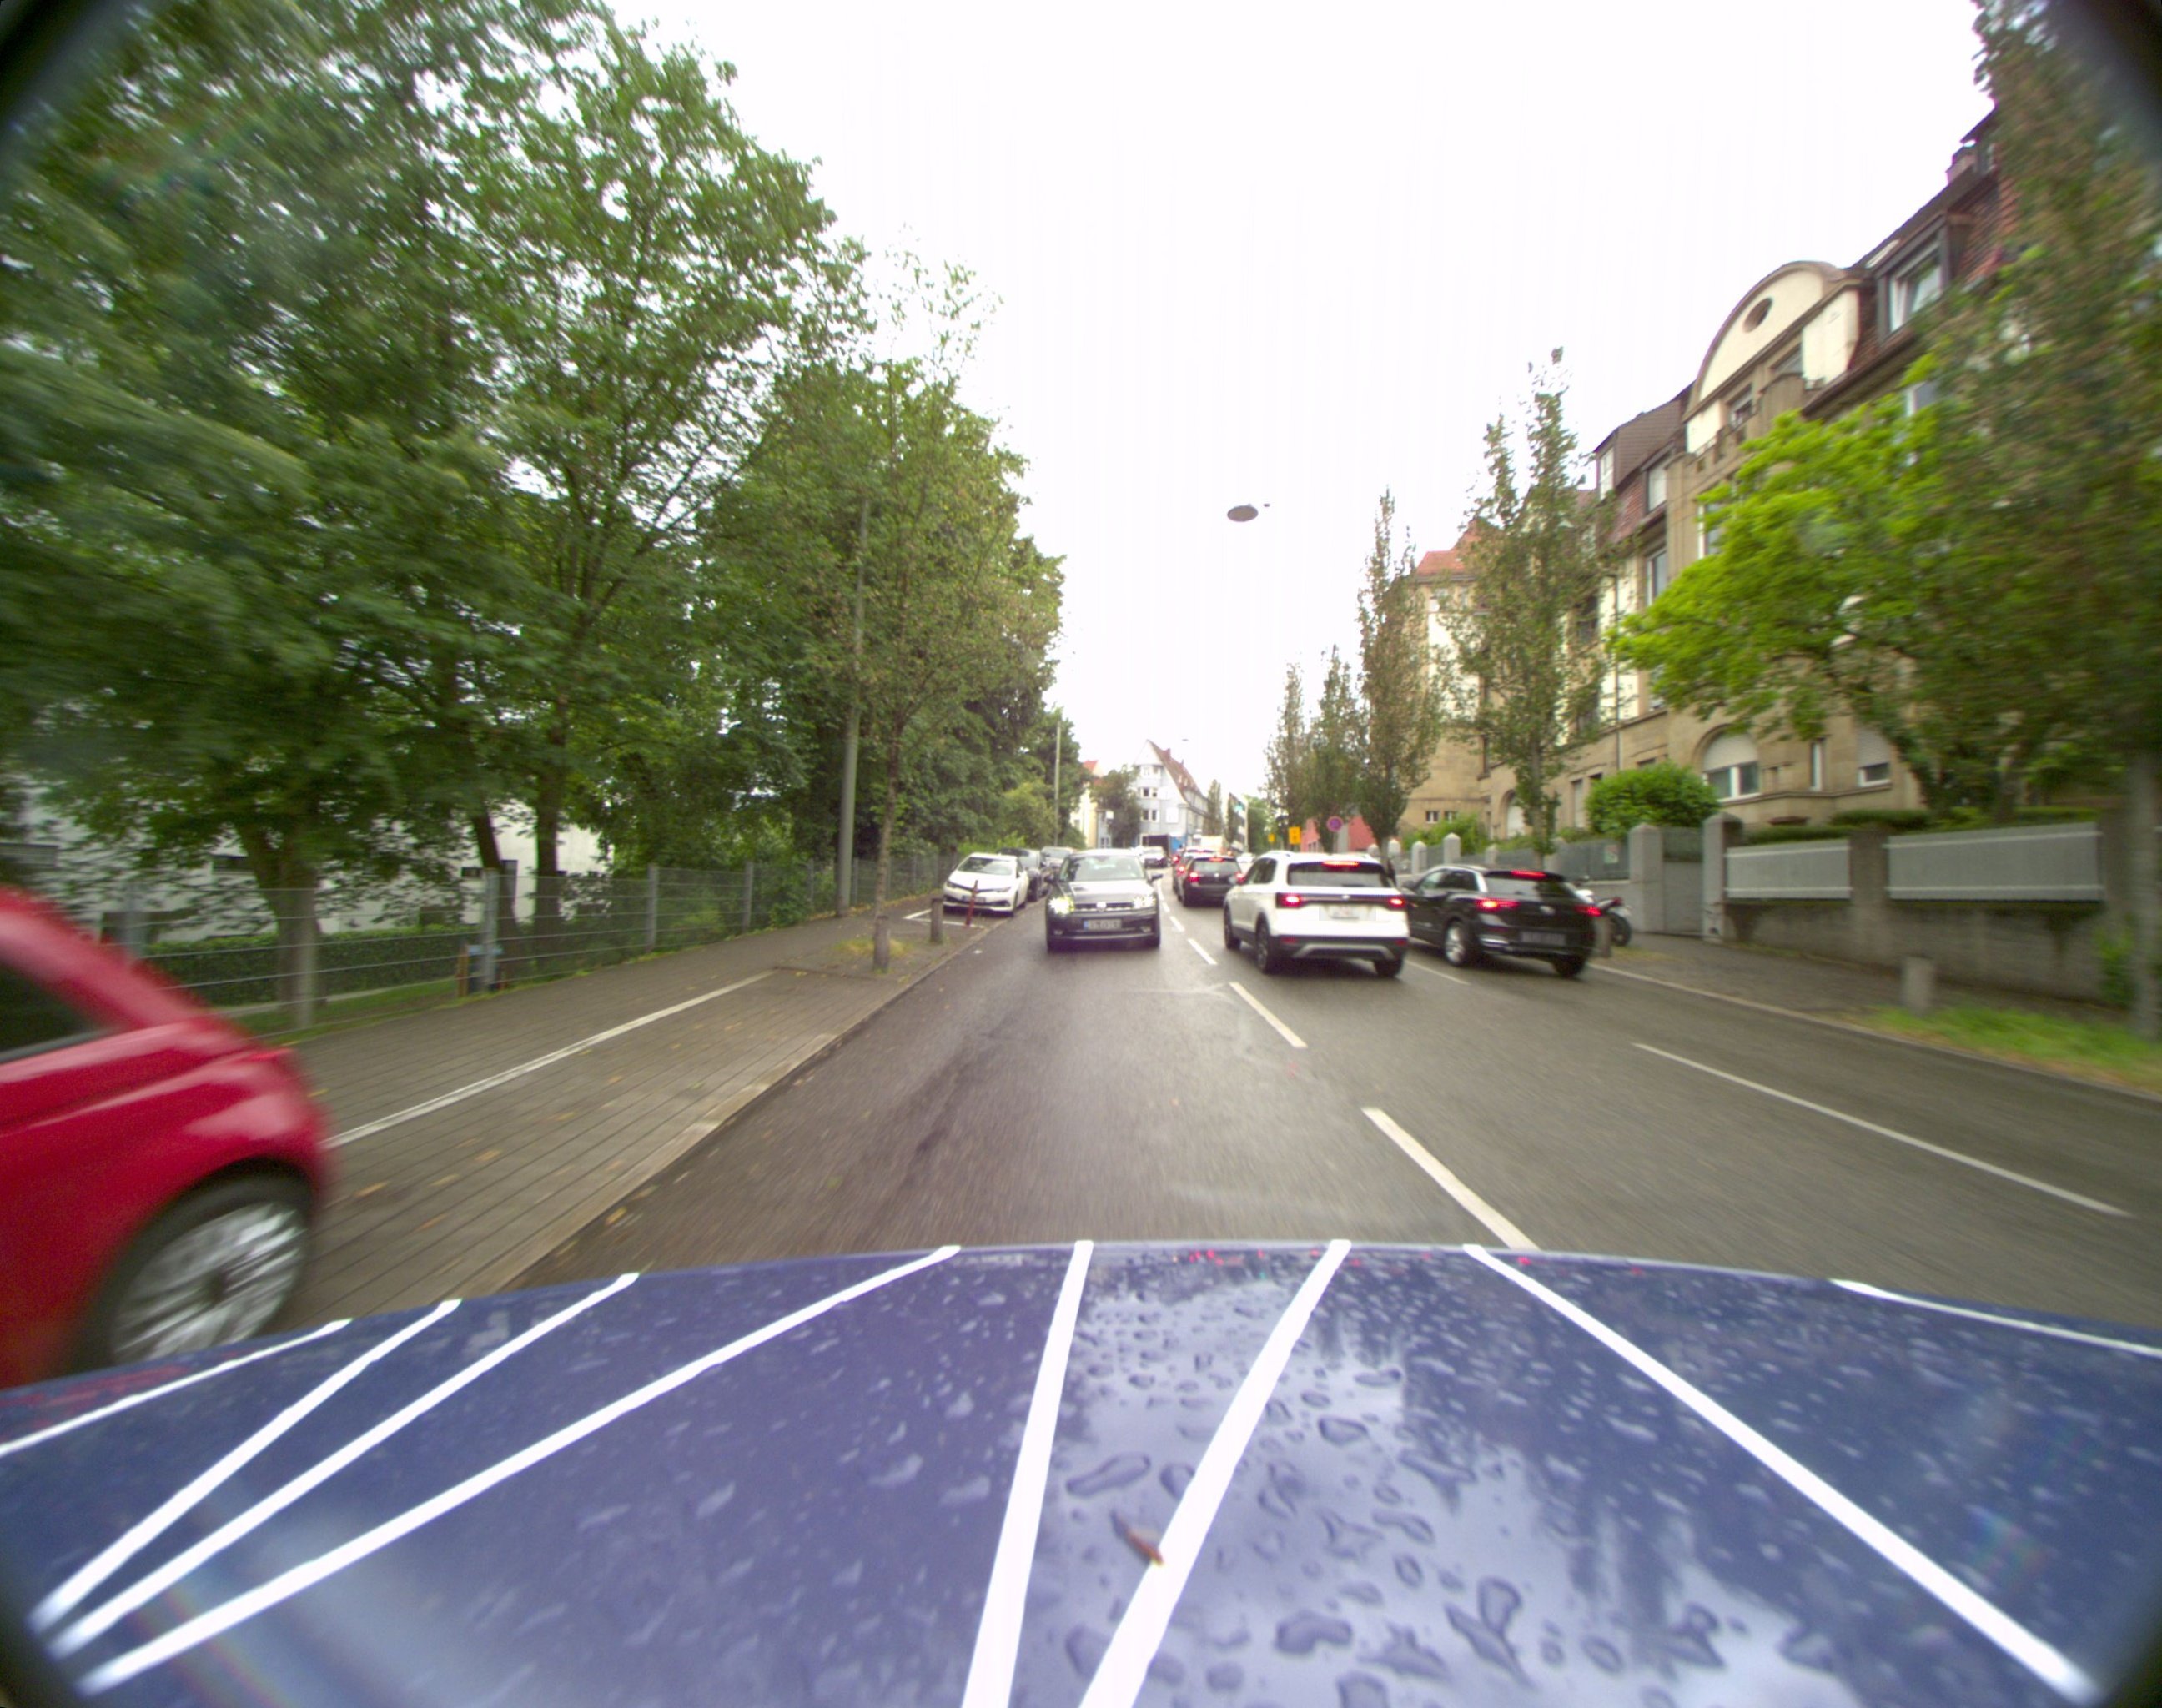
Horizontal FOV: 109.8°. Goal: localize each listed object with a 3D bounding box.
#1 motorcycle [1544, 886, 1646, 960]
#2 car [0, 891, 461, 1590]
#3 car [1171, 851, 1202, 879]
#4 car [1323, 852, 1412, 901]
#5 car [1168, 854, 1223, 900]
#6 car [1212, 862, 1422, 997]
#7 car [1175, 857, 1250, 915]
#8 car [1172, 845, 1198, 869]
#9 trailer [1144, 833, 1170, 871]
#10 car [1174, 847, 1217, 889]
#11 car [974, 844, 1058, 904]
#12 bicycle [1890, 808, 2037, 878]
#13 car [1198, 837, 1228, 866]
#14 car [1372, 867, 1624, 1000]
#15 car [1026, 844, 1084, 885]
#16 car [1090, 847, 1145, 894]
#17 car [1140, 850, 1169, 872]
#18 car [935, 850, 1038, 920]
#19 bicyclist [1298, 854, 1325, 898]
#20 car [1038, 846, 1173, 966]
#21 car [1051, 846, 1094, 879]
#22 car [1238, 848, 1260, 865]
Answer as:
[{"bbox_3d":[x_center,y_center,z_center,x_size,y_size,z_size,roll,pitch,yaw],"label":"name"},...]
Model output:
[{"bbox_3d":[9.726,1.267,14.482,0.657,1.228,1.982,2,0,3],"label":"motorcycle"},{"bbox_3d":[-3.250,0.905,0.988,1.613,1.493,3.958,2,0,0],"label":"car"},{"bbox_3d":[6.218,0.667,45.153,1.621,1.515,4.116,3,0,6],"label":"car"},{"bbox_3d":[10.309,0.780,27.610,2.000,1.586,3.829,-2,0,5],"label":"car"},{"bbox_3d":[4.150,0.800,27.971,1.715,1.471,4.116,3,0,6],"label":"car"},{"bbox_3d":[3.095,0.895,10.895,1.776,1.508,4.100,2,0,1],"label":"car"},{"bbox_3d":[3.657,0.843,21.683,1.766,1.423,3.886,1,0,5],"label":"car"},{"bbox_3d":[8.085,0.264,58.720,1.620,1.652,4.118,3,0,11],"label":"car"},{"bbox_3d":[6.159,-0.130,61.219,1.965,3.023,2.367,0,0,9],"label":"trailer"},{"bbox_3d":[5.231,0.598,34.996,1.655,1.698,4.115,3,1,6],"label":"car"},{"bbox_3d":[-2.046,0.635,25.332,1.924,1.641,4.885,5,0,4],"label":"car"},{"bbox_3d":[16.498,-0.199,14.227,1.980,1.228,0.657,2,0,-1],"label":"bicycle"},{"bbox_3d":[12.429,-0.193,71.335,2.132,2.491,5.416,3,0,15],"label":"car"},{"bbox_3d":[6.185,1.070,11.867,1.748,1.509,3.868,4,1,1],"label":"car"},{"bbox_3d":[-1.112,0.431,35.365,1.972,1.641,4.817,5,1,5],"label":"car"},{"bbox_3d":[1.473,0.615,28.873,1.924,1.641,4.488,0,-1,5],"label":"car"},{"bbox_3d":[5.668,0.553,58.013,1.924,1.641,4.138,0,-1,9],"label":"car"},{"bbox_3d":[-2.318,0.737,19.913,1.745,1.454,4.885,5,0,3],"label":"car"},{"bbox_3d":[8.367,0.780,27.637,0.657,1.547,0.991,2,0,3],"label":"bicyclist"},{"bbox_3d":[0.301,0.786,13.260,1.860,1.641,5.195,1,-1,-1],"label":"car"},{"bbox_3d":[-0.400,0.458,41.584,1.924,1.552,4.013,5,0,4],"label":"car"},{"bbox_3d":[22.956,0.352,103.630,2.132,2.015,5.418,3,0,20],"label":"car"}]
